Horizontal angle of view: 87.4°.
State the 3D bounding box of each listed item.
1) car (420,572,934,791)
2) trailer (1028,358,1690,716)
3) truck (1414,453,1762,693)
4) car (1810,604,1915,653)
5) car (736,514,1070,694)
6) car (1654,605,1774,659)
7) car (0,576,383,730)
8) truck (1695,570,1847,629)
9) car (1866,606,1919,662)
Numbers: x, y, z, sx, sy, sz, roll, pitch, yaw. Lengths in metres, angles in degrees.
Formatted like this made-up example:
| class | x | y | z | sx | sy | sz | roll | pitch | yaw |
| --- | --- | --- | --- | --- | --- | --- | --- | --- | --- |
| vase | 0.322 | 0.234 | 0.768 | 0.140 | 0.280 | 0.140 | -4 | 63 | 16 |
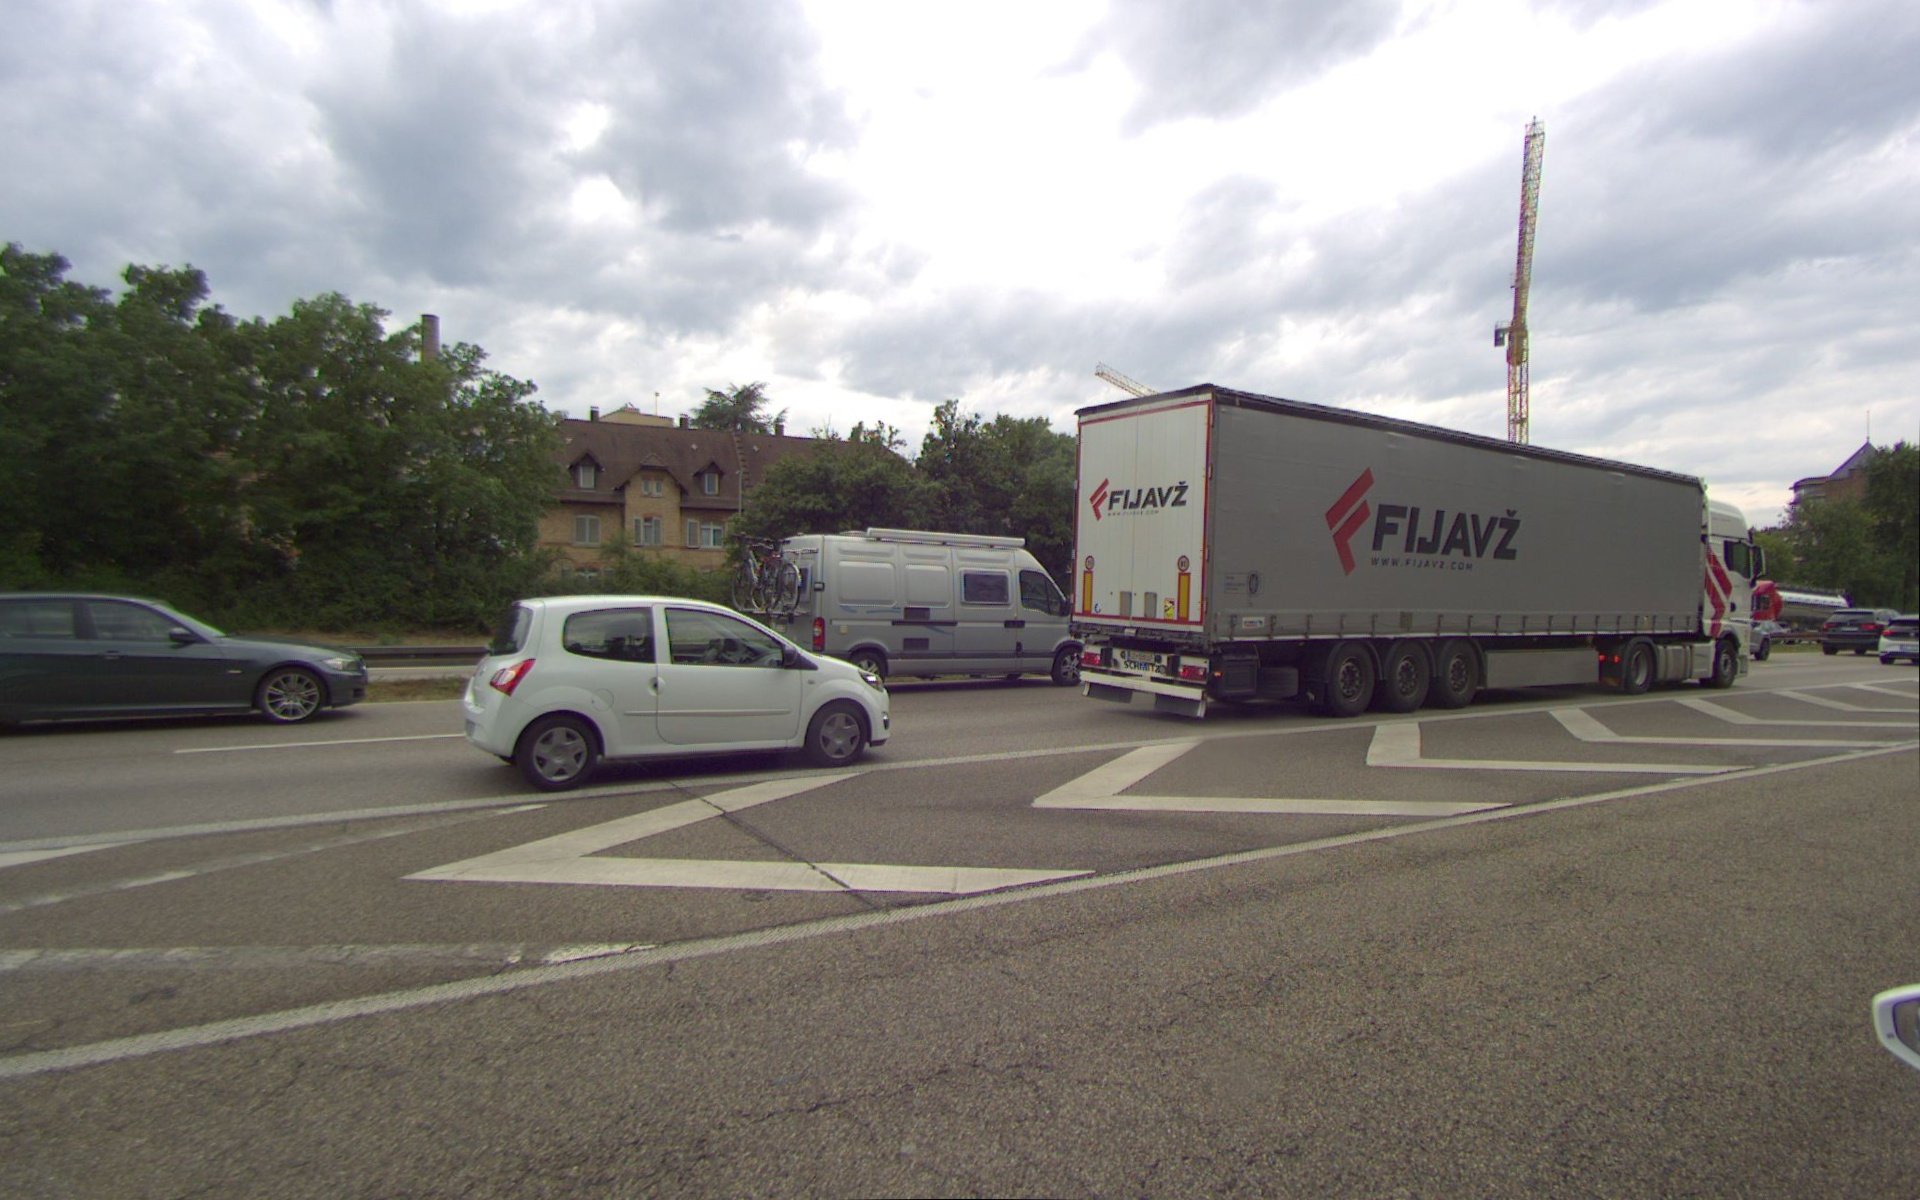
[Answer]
| class | x | y | z | sx | sy | sz | roll | pitch | yaw |
| --- | --- | --- | --- | --- | --- | --- | --- | --- | --- |
| car | -2.336 | 0.593 | 8.673 | 3.992 | 1.510 | 1.569 | 1 | 0 | -33 |
| trailer | 7.289 | -0.568 | 16.483 | 12.962 | 4.090 | 3.278 | 2 | 0 | -34 |
| truck | 12.595 | -0.380 | 19.972 | 6.999 | 4.000 | 3.179 | 2 | 0 | -34 |
| car | 34.244 | 1.094 | 38.092 | 3.954 | 1.739 | 1.865 | 2 | 0 | -31 |
| car | -0.838 | 0.101 | 16.789 | 5.306 | 2.587 | 1.981 | 1 | 0 | -34 |
| car | 24.165 | 1.009 | 32.158 | 3.881 | 1.623 | 1.721 | 1 | 0 | -30 |
| car | -8.962 | 0.522 | 10.834 | 4.651 | 1.467 | 1.703 | 2 | 0 | -33 |
| truck | 49.823 | 0.036 | 61.475 | 14.517 | 3.124 | 3.045 | 2 | 0 | -34 |
| car | 29.982 | 1.073 | 31.112 | 4.211 | 1.625 | 1.790 | 2 | 0 | -33 |
